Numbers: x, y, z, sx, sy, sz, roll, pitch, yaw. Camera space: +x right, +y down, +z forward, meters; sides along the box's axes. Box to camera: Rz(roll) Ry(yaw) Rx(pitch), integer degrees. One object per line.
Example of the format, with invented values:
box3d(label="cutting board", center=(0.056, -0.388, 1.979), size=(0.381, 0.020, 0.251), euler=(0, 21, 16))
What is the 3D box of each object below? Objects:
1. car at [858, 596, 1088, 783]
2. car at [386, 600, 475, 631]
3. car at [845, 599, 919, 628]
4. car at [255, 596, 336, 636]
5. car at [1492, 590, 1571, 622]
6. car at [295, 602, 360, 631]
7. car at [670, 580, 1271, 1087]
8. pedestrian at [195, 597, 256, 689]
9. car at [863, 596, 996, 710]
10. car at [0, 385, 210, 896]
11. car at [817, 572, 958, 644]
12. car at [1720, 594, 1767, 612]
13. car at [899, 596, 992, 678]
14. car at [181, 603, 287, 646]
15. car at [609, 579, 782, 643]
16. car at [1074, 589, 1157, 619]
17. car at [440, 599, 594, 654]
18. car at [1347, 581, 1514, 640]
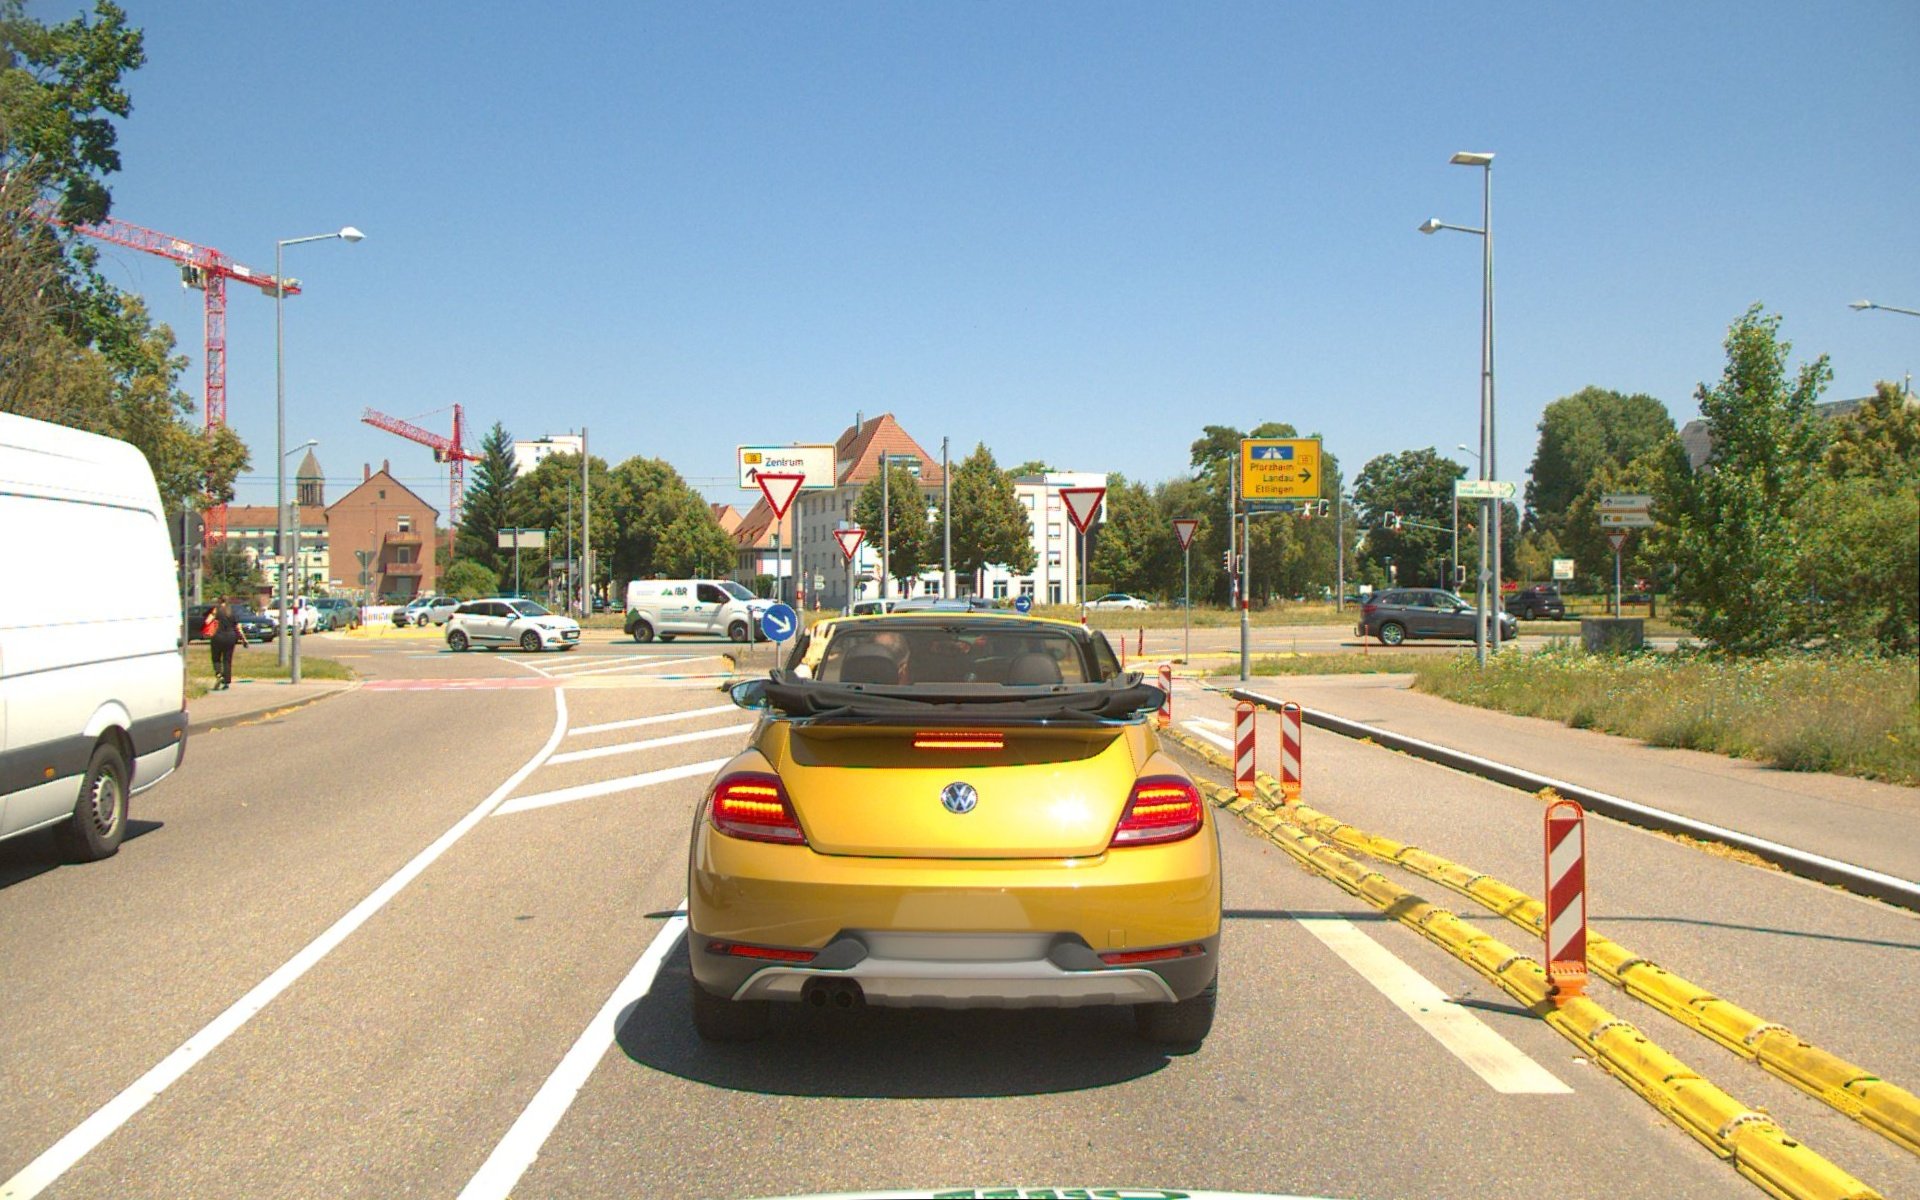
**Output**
box3d(label="car", center=(0.075, 0.710, 15.082), size=(1.810, 1.467, 3.999), euler=(0, 0, -1))
box3d(label="car", center=(-26.488, 0.759, 82.891), size=(1.676, 1.526, 4.210), euler=(0, 0, 31))
box3d(label="car", center=(-5.213, 0.868, 109.671), size=(4.820, 1.817, 2.024), euler=(-1, 0, -5))
box3d(label="car", center=(-27.125, 0.623, 67.594), size=(1.720, 1.576, 3.999), euler=(0, 0, -1))
box3d(label="car", center=(31.520, 0.329, 91.384), size=(1.914, 1.701, 4.175), euler=(-1, 0, -21))
box3d(label="car", center=(-27.992, 0.705, 73.310), size=(1.673, 1.258, 3.783), euler=(0, 0, -4))
box3d(label="car", center=(0.000, 0.674, 6.637), size=(1.717, 1.447, 3.776), euler=(0, 0, -1))
box3d(label="pedestrian", center=(-12.842, 0.738, 28.922), size=(0.802, 1.590, 0.865), euler=(1, 0, -37))
box3d(label="car", center=(-0.421, 0.686, 23.384), size=(1.701, 1.467, 3.999), euler=(0, 0, -1))
box3d(label="car", center=(-5.804, 0.219, 7.935), size=(1.981, 2.583, 6.817), euler=(-1, 0, -7))
box3d(label="car", center=(-1.939, 0.217, 44.732), size=(3.588, 1.882, 1.634), euler=(0, 0, 5))
box3d(label="car", center=(76.155, 0.287, 160.738), size=(3.927, 1.744, 1.989), euler=(0, 0, -19))
box3d(label="car", center=(-0.291, 0.684, 32.317), size=(1.701, 1.503, 3.999), euler=(0, 0, -1))
box3d(label="car", center=(-26.345, 0.857, 59.977), size=(4.125, 1.467, 1.989), euler=(0, 0, 41))
box3d(label="car", center=(-8.128, 0.315, 50.907), size=(4.866, 1.882, 2.001), euler=(0, 0, 18))
box3d(label="car", center=(10.207, 0.257, 108.688), size=(5.056, 1.817, 2.027), euler=(-1, 0, 20))
box3d(label="car", center=(-12.568, 0.733, 46.948), size=(3.923, 1.470, 1.634), euler=(0, 0, 16))
box3d(label="car", center=(13.265, 0.285, 46.836), size=(4.338, 1.624, 2.002), euler=(0, 0, 9))
